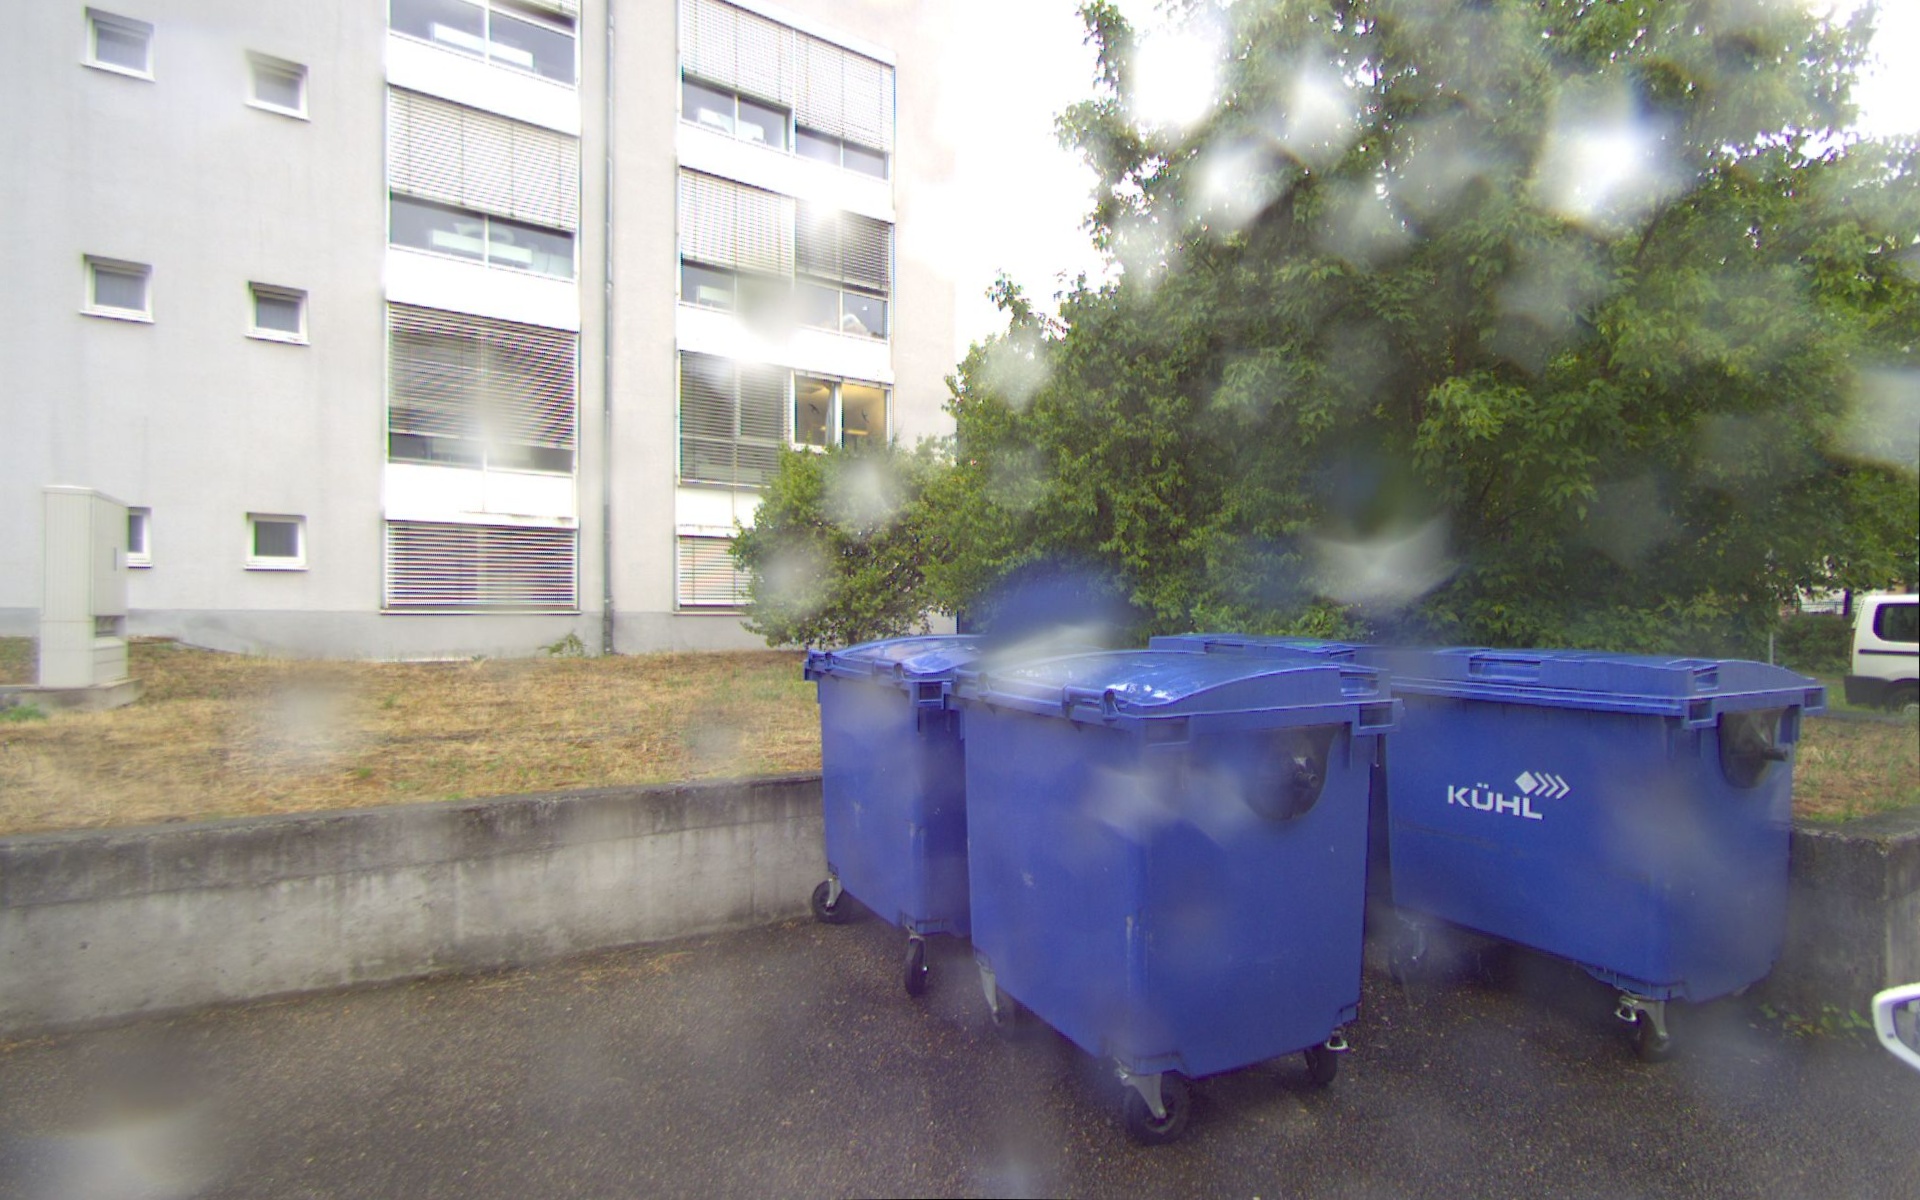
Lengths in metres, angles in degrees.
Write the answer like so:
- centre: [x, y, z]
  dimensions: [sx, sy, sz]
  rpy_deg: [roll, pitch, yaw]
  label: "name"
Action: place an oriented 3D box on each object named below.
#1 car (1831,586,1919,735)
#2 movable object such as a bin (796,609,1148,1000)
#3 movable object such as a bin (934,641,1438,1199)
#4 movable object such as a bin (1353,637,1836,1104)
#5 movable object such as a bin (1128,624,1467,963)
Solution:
- centre: [14.654, 0.796, 12.961]
  dimensions: [1.975, 2.040, 4.762]
  rpy_deg: [0, -1, -28]
  label: "car"
- centre: [0.012, 0.747, 4.408]
  dimensions: [1.103, 1.355, 1.197]
  rpy_deg: [-2, 2, -28]
  label: "movable object such as a bin"
- centre: [0.657, 0.827, 3.262]
  dimensions: [1.101, 1.355, 1.199]
  rpy_deg: [1, -1, -25]
  label: "movable object such as a bin"
- centre: [2.322, 0.839, 3.789]
  dimensions: [0.994, 1.355, 1.216]
  rpy_deg: [0, 0, -28]
  label: "movable object such as a bin"
- centre: [1.594, 0.814, 4.894]
  dimensions: [0.994, 1.355, 1.216]
  rpy_deg: [-1, 0, -28]
  label: "movable object such as a bin"
